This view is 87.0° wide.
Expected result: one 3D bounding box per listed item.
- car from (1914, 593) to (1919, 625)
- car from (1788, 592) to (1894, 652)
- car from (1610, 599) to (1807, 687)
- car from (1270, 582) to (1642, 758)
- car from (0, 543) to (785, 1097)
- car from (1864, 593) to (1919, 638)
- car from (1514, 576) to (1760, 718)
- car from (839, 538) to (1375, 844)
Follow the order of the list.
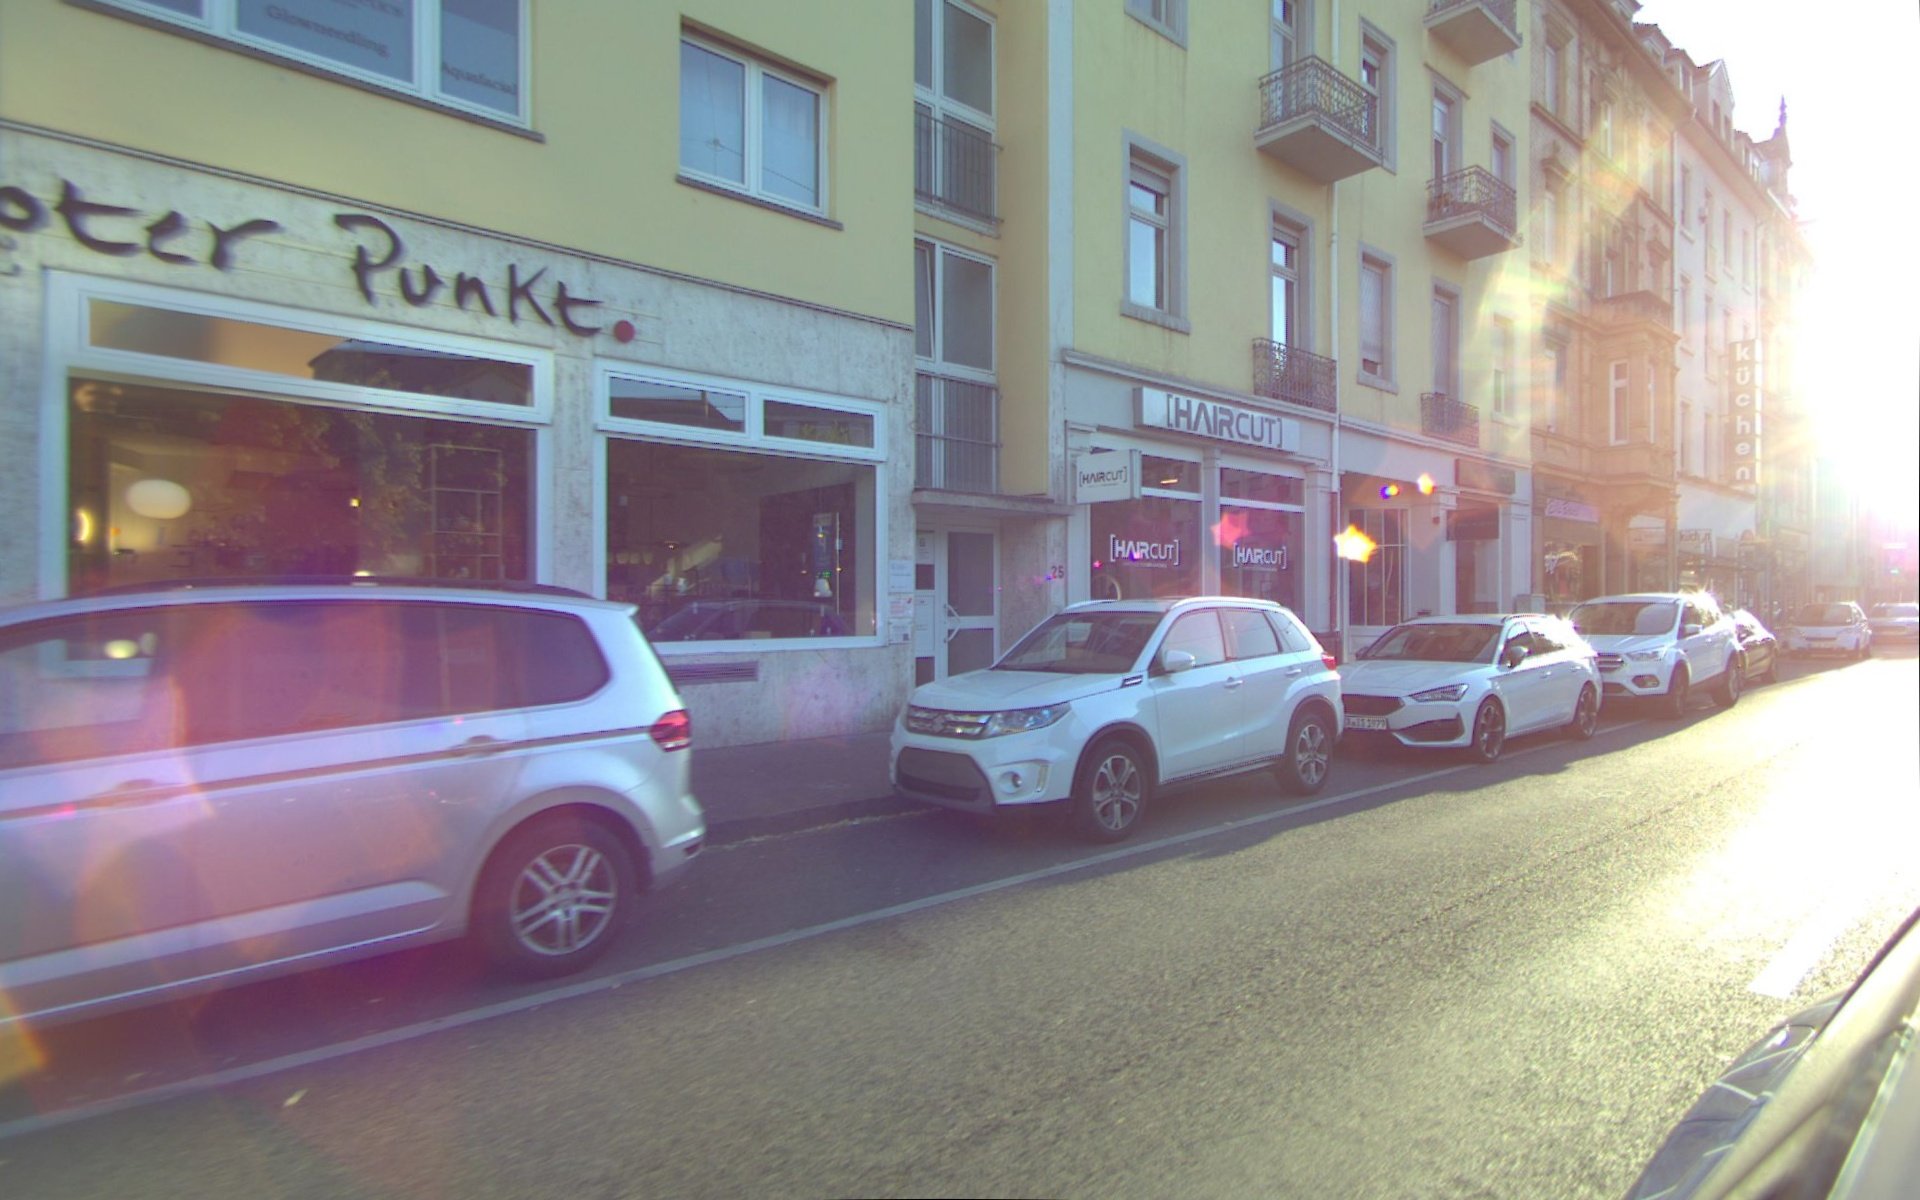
[{"bbox_3d":[48.264,0.460,49.454,3.929,1.539,1.997,1,0,-40],"label":"car"},{"bbox_3d":[24.997,0.612,28.673,3.928,1.605,1.703,2,-1,-40],"label":"car"},{"bbox_3d":[14.255,0.722,19.172,4.765,1.452,1.997,0,0,-41],"label":"car"},{"bbox_3d":[5.709,0.670,11.360,4.782,1.563,2.019,2,-1,-40],"label":"car"},{"bbox_3d":[-3.240,0.645,3.966,4.721,1.633,1.996,0,0,-42],"label":"car"},{"bbox_3d":[34.908,0.590,37.211,4.601,1.555,1.996,2,-1,-42],"label":"car"},{"bbox_3d":[10.059,0.631,14.902,4.577,1.767,1.885,2,-1,-41],"label":"car"},{"bbox_3d":[1.365,0.571,8.065,4.330,1.785,1.871,2,-1,-41],"label":"car"}]
